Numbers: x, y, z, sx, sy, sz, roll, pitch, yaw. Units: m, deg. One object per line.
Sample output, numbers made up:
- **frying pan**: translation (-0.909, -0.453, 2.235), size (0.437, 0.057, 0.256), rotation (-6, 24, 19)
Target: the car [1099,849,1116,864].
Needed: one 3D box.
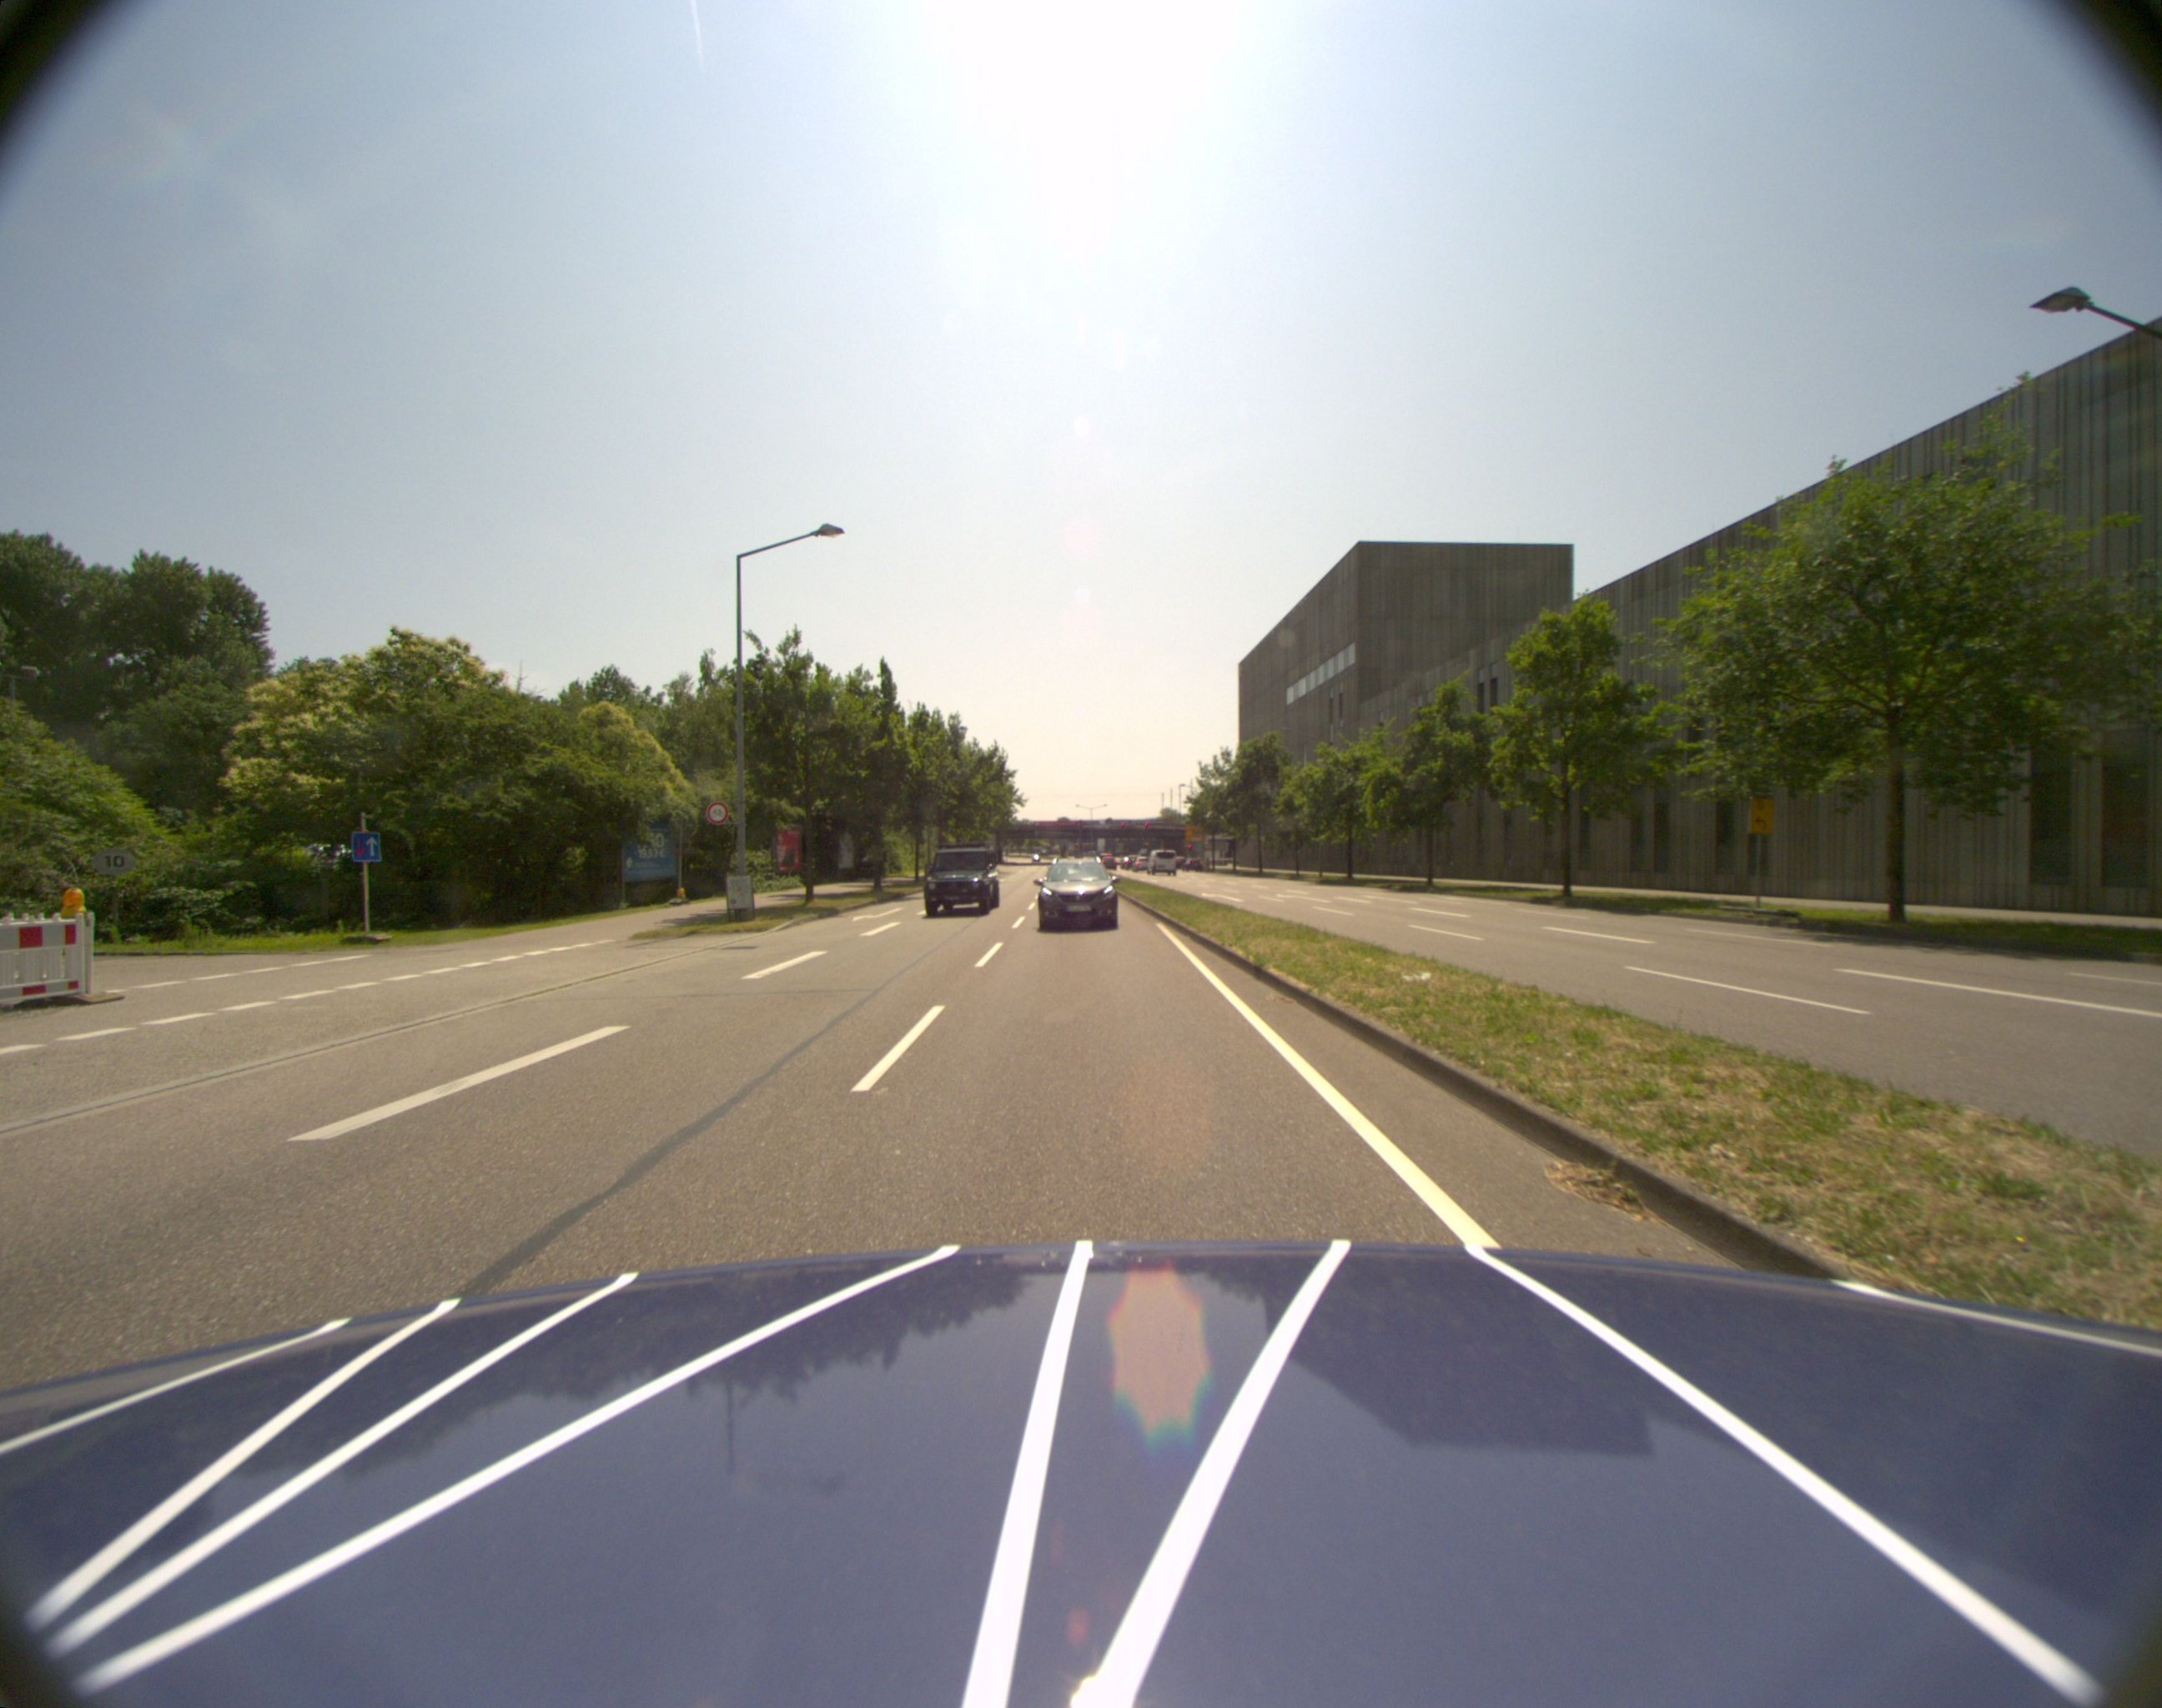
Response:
- **car**: translation (3.128, 0.277, 90.901), size (1.815, 1.790, 4.713), rotation (1, 0, -1)

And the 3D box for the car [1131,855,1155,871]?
- **car**: translation (5.997, 0.845, 73.861), size (1.770, 1.452, 4.144), rotation (1, 0, -2)

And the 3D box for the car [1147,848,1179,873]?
- **car**: translation (6.740, 0.527, 62.859), size (1.914, 1.981, 4.896), rotation (1, 0, -2)

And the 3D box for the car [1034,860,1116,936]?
- **car**: translation (-0.096, 0.925, 17.940), size (1.619, 1.502, 4.458), rotation (-3, 0, 1)

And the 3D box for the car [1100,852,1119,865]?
- **car**: translation (3.104, 0.474, 83.742), size (1.815, 1.458, 4.056), rotation (1, 0, -2)

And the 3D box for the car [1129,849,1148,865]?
- **car**: translation (6.297, 0.313, 83.983), size (1.807, 1.653, 4.572), rotation (1, 0, 0)

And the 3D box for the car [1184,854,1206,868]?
- **car**: translation (12.235, 0.729, 81.832), size (1.625, 1.447, 4.016), rotation (0, 0, -2)

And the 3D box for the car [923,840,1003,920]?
- **car**: translation (-3.452, 0.694, 22.956), size (1.842, 2.141, 4.556), rotation (-1, 1, -2)

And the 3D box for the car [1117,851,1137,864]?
- **car**: translation (5.485, 0.415, 90.866), size (1.815, 1.437, 4.249), rotation (0, 0, -4)

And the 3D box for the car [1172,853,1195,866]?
- **car**: translation (11.966, 0.633, 88.963), size (1.815, 1.534, 4.368), rotation (-1, 0, -3)

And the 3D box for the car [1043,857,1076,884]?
- **car**: translation (-1.278, 0.916, 44.357), size (1.817, 1.456, 3.999), rotation (-1, 0, -2)
